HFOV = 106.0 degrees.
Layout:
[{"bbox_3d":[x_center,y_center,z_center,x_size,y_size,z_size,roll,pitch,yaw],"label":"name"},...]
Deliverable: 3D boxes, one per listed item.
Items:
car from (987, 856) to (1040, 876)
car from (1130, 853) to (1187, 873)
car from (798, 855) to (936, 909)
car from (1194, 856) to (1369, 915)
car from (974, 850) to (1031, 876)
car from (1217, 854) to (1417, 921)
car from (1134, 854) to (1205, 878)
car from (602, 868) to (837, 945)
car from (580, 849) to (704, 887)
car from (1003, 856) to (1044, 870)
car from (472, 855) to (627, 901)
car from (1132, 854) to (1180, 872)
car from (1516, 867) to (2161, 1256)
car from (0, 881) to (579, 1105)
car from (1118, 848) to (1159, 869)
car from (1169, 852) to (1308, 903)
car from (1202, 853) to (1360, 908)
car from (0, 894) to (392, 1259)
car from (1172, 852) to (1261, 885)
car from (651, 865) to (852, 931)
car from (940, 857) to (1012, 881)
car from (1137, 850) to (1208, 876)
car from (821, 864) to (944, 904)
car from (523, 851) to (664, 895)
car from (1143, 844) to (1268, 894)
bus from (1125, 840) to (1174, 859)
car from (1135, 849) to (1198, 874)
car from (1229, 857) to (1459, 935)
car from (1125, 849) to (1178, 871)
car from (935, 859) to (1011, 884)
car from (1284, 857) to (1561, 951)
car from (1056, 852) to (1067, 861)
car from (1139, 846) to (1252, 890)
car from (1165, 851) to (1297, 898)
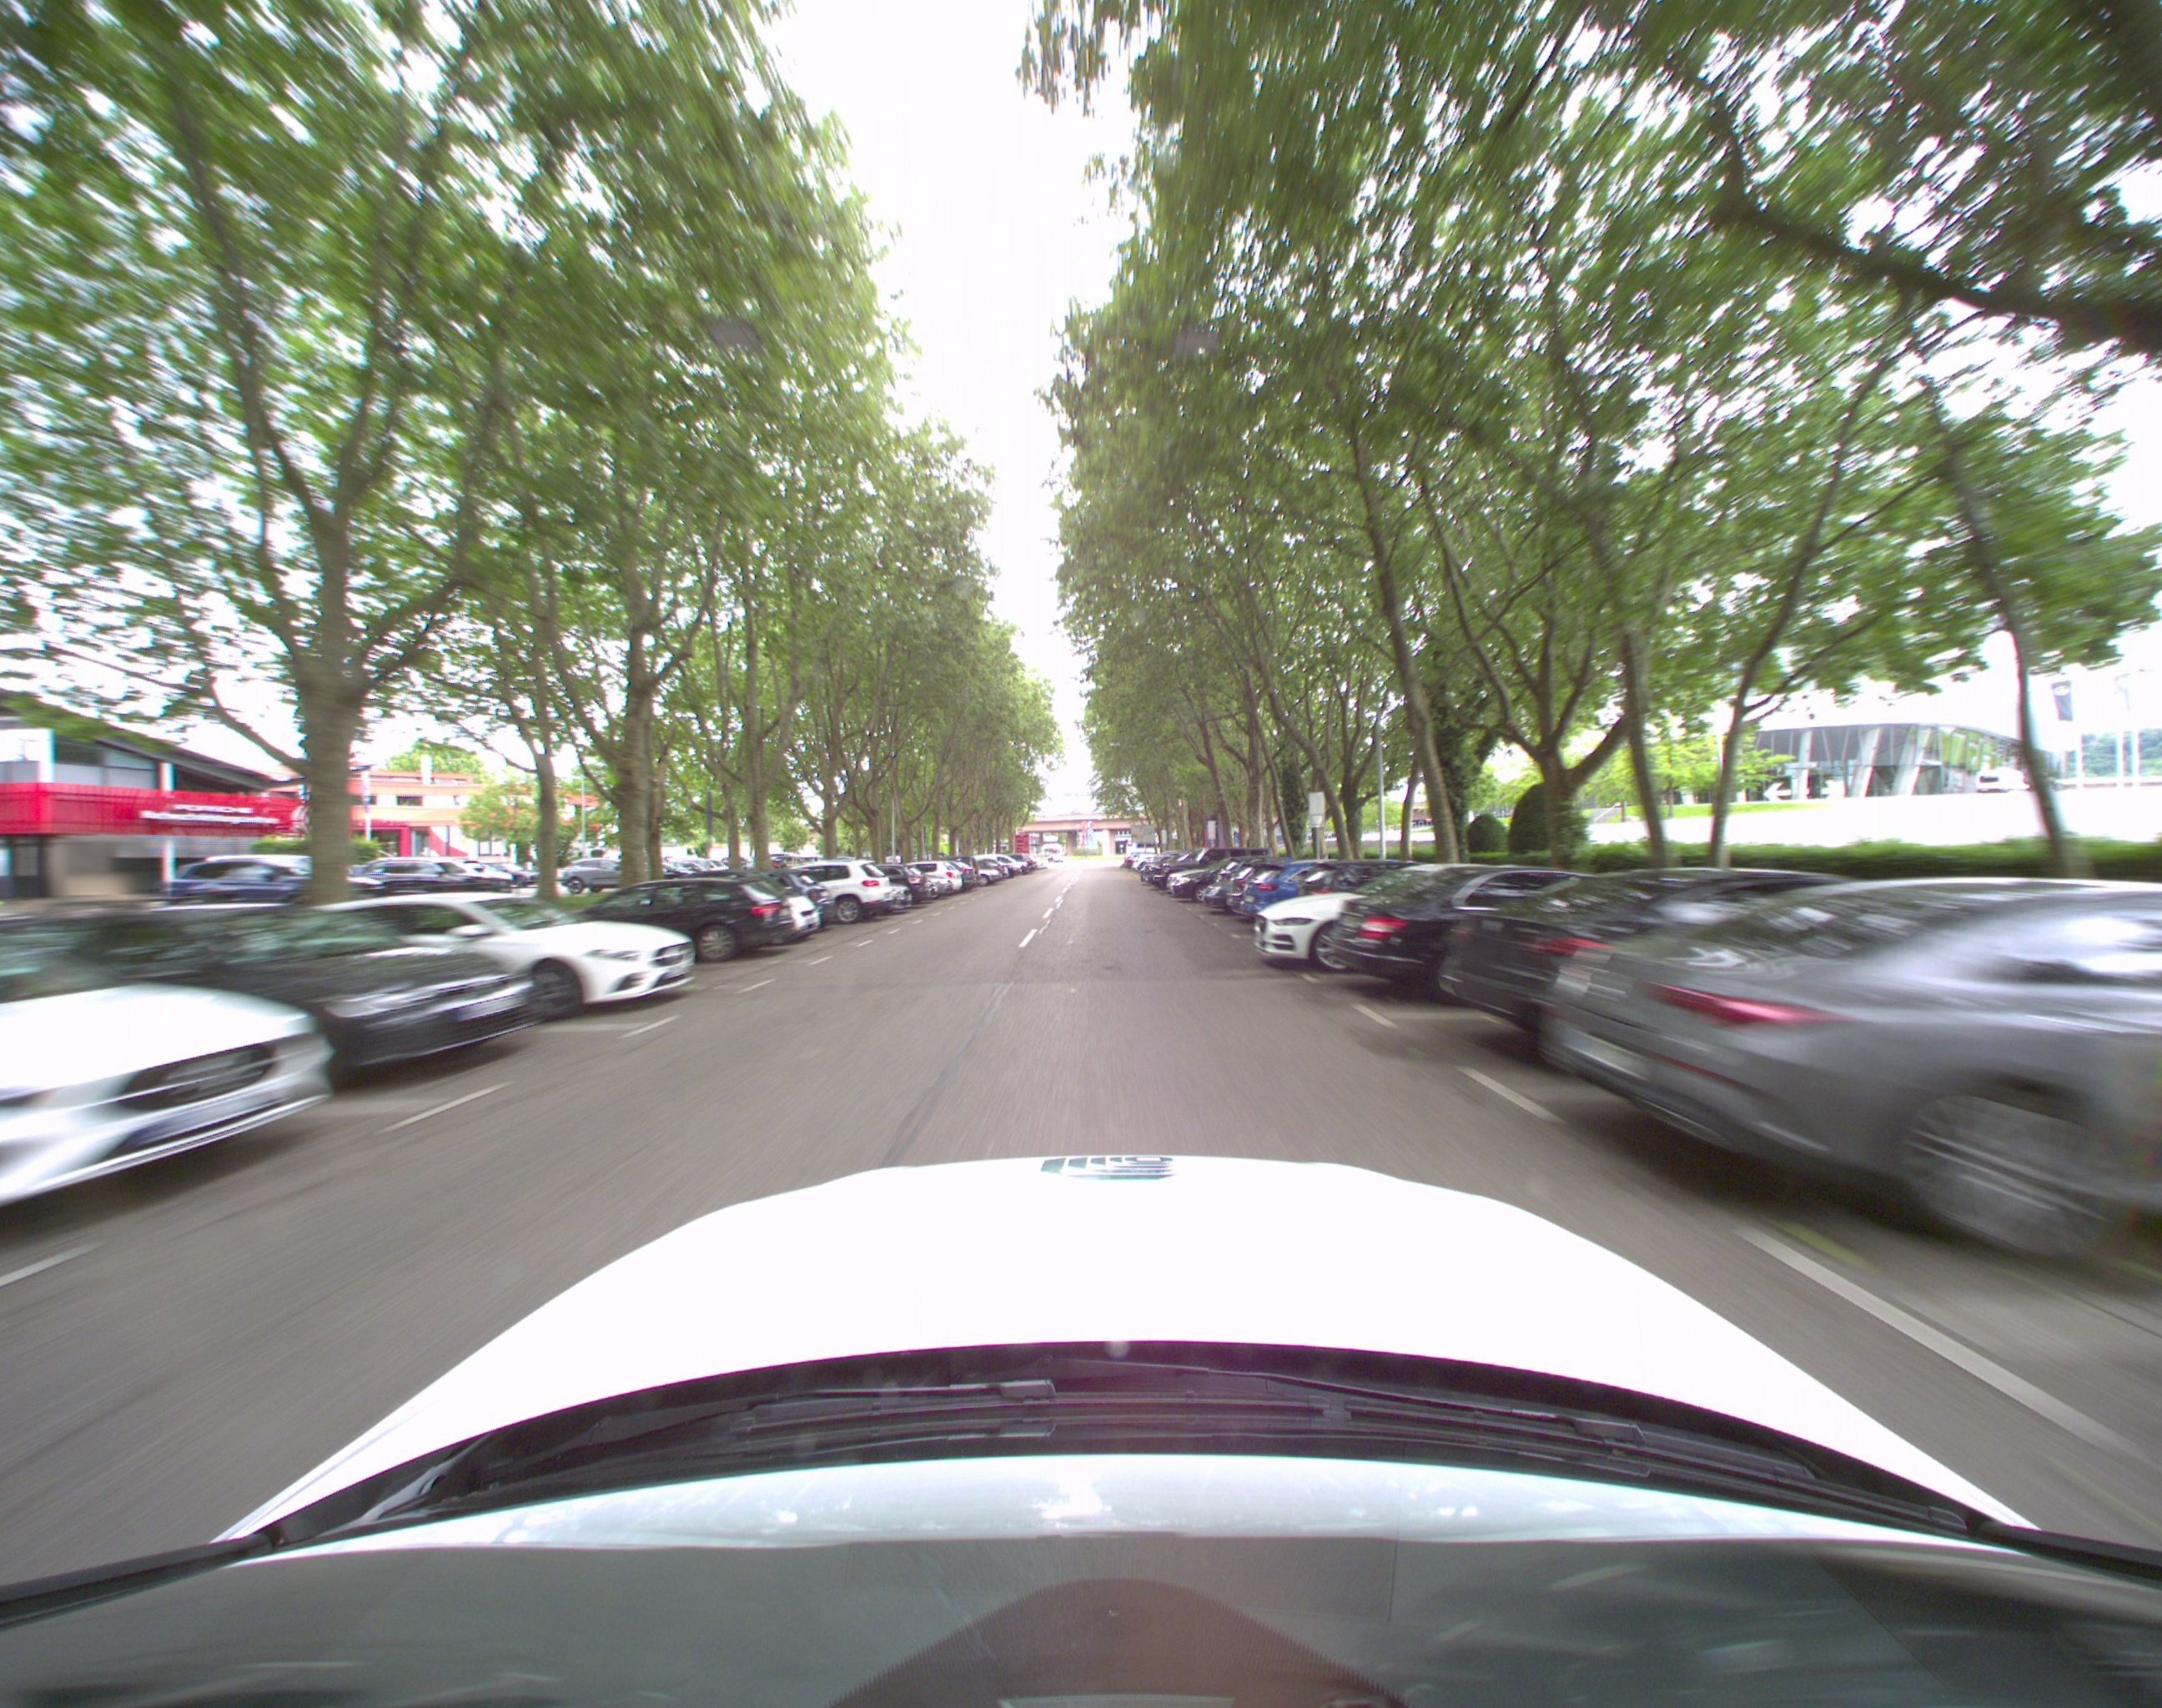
[{"bbox_3d":[-5.716,1.007,69.274,4.112,1.452,2.015,-4,0,2],"label":"car"},{"bbox_3d":[5.818,0.642,61.520,4.134,1.458,1.727,0,0,1],"label":"car"},{"bbox_3d":[-6.914,0.879,26.565,3.972,1.682,1.856,0,-1,1],"label":"car"},{"bbox_3d":[5.208,0.811,21.521,4.185,1.456,1.783,0,0,-3],"label":"car"},{"bbox_3d":[-6.185,0.691,64.320,4.308,1.810,1.865,-3,0,-3],"label":"car"},{"bbox_3d":[5.459,0.755,19.162,4.185,1.456,1.783,0,0,-3],"label":"car"},{"bbox_3d":[5.512,0.731,51.062,4.330,1.413,1.926,0,0,1],"label":"car"},{"bbox_3d":[-7.309,1.028,16.738,3.972,1.453,1.856,0,-1,1],"label":"car"},{"bbox_3d":[-21.712,0.680,40.421,4.928,1.797,2.182,0,-1,-2],"label":"car"},{"bbox_3d":[-5.947,0.920,84.474,3.976,1.385,1.914,0,-1,4],"label":"car"},{"bbox_3d":[-21.995,0.961,33.872,4.928,1.797,2.182,0,-1,-2],"label":"car"},{"bbox_3d":[5.871,0.690,64.070,3.630,1.427,1.664,0,0,-3],"label":"car"},{"bbox_3d":[4.817,0.792,3.877,4.567,1.417,1.720,0,0,3],"label":"car"},{"bbox_3d":[-6.967,1.068,6.788,4.391,1.417,1.784,-3,0,1],"label":"car"},{"bbox_3d":[5.719,0.443,81.255,3.972,2.013,2.001,0,0,1],"label":"car"},{"bbox_3d":[5.024,0.750,26.377,4.182,1.518,1.785,1,0,0],"label":"car"},{"bbox_3d":[5.787,0.752,23.883,4.185,1.518,1.783,0,0,-3],"label":"car"},{"bbox_3d":[-6.603,1.072,4.243,4.394,1.424,1.775,-3,0,-1],"label":"car"},{"bbox_3d":[7.415,0.780,44.752,4.489,1.796,2.044,0,0,-6],"label":"car"},{"bbox_3d":[-7.694,1.005,19.289,3.972,1.453,1.856,0,-1,1],"label":"car"},{"bbox_3d":[-6.932,1.001,54.226,4.448,1.369,1.880,-3,0,0],"label":"car"},{"bbox_3d":[6.005,0.600,54.045,4.573,1.639,1.874,0,0,2],"label":"car"},{"bbox_3d":[-7.085,1.062,29.354,3.975,1.369,1.843,0,-1,-1],"label":"car"},{"bbox_3d":[-21.819,0.826,36.641,4.928,1.797,2.182,-1,0,-2],"label":"car"},{"bbox_3d":[4.760,0.544,31.640,4.485,1.866,2.045,0,0,-3],"label":"car"},{"bbox_3d":[13.321,-0.911,158.263,10.056,3.398,2.316,-1,0,-33],"label":"bus"},{"bbox_3d":[6.168,0.515,59.042,4.333,1.745,1.836,0,0,-1],"label":"car"},{"bbox_3d":[5.190,0.799,16.400,4.009,1.447,1.911,0,0,-5],"label":"car"},{"bbox_3d":[5.961,0.506,69.294,4.333,1.761,1.925,1,0,-1],"label":"car"},{"bbox_3d":[-6.866,1.078,52.031,4.445,1.347,1.903,-3,0,2],"label":"car"},{"bbox_3d":[5.674,0.802,13.907,4.001,1.447,1.784,0,0,1],"label":"car"},{"bbox_3d":[-3.513,0.414,144.359,1.836,1.510,4.014,0,0,0],"label":"car"},{"bbox_3d":[4.766,0.552,34.407,4.480,1.796,2.047,0,0,0],"label":"car"},{"bbox_3d":[5.268,0.704,29.108,4.475,1.572,2.050,0,0,3],"label":"car"}]
